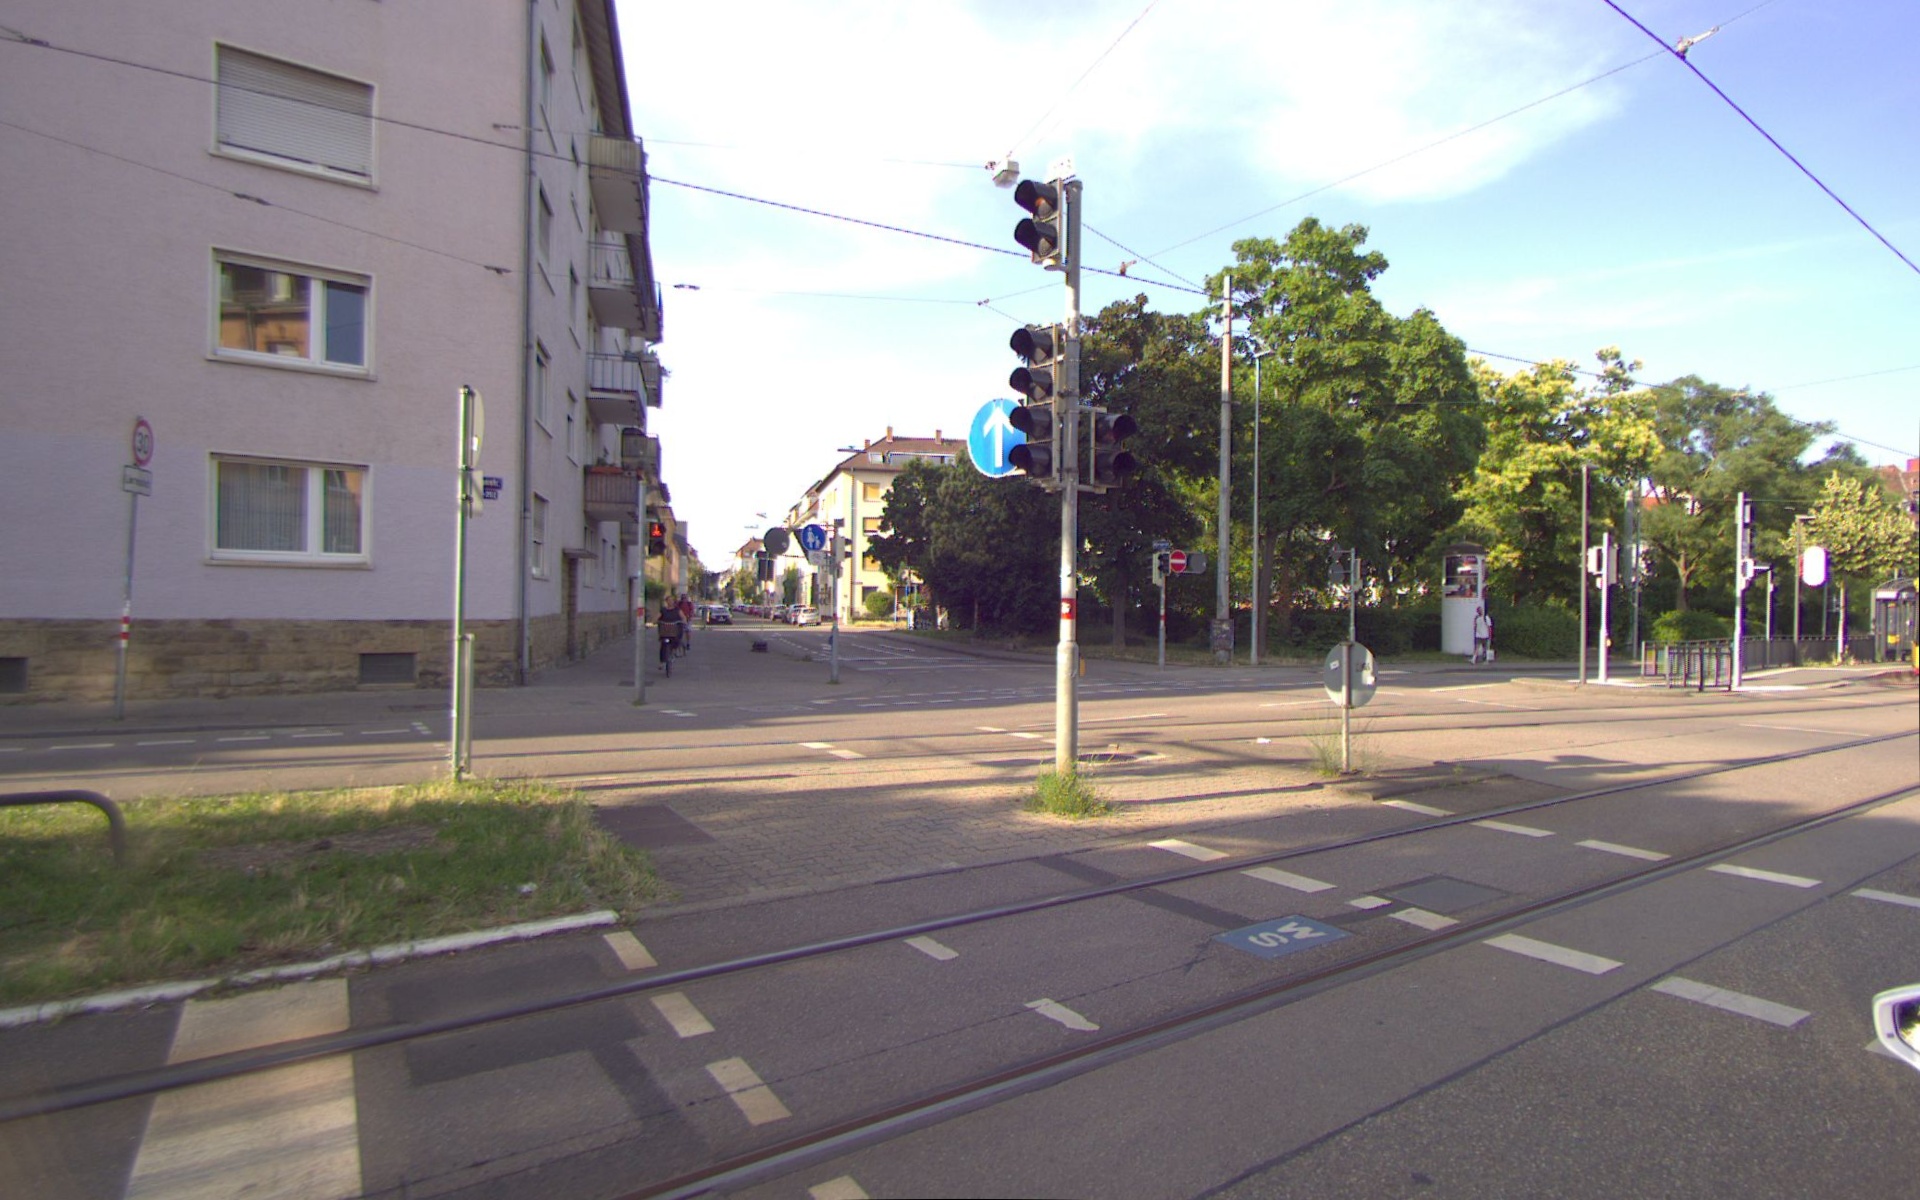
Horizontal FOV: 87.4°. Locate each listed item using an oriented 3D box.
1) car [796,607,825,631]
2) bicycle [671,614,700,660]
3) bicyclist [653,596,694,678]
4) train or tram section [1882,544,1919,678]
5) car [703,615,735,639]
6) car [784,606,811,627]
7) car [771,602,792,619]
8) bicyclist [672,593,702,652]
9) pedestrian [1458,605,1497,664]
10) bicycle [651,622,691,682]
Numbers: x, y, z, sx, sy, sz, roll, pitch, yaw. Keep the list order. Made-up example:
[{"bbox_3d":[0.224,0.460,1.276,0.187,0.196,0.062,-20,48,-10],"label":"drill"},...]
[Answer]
[{"bbox_3d":[-12.209,1.532,81.911,1.967,1.748,3.987,1,1,-15],"label":"car"},{"bbox_3d":[-7.958,1.055,29.215,0.722,1.219,1.975,1,1,-13],"label":"bicycle"},{"bbox_3d":[-5.950,0.763,20.879,0.781,1.664,0.771,1,1,-14],"label":"bicyclist"},{"bbox_3d":[31.551,0.387,30.039,14.393,3.526,3.139,1,1,-36],"label":"train or tram section"},{"bbox_3d":[-19.347,2.118,80.526,1.970,1.748,3.980,1,1,-21],"label":"car"},{"bbox_3d":[-14.539,1.419,89.801,1.967,1.748,3.987,1,1,-15],"label":"car"},{"bbox_3d":[-19.814,1.127,111.641,1.967,1.748,3.987,1,1,-15],"label":"car"},{"bbox_3d":[-7.864,0.638,28.994,0.800,1.664,0.851,1,1,-14],"label":"bicyclist"},{"bbox_3d":[17.373,1.148,33.722,0.991,1.935,0.704,2,1,43],"label":"pedestrian"},{"bbox_3d":[-6.040,1.060,21.070,0.723,1.125,1.911,1,1,-14],"label":"bicycle"}]
